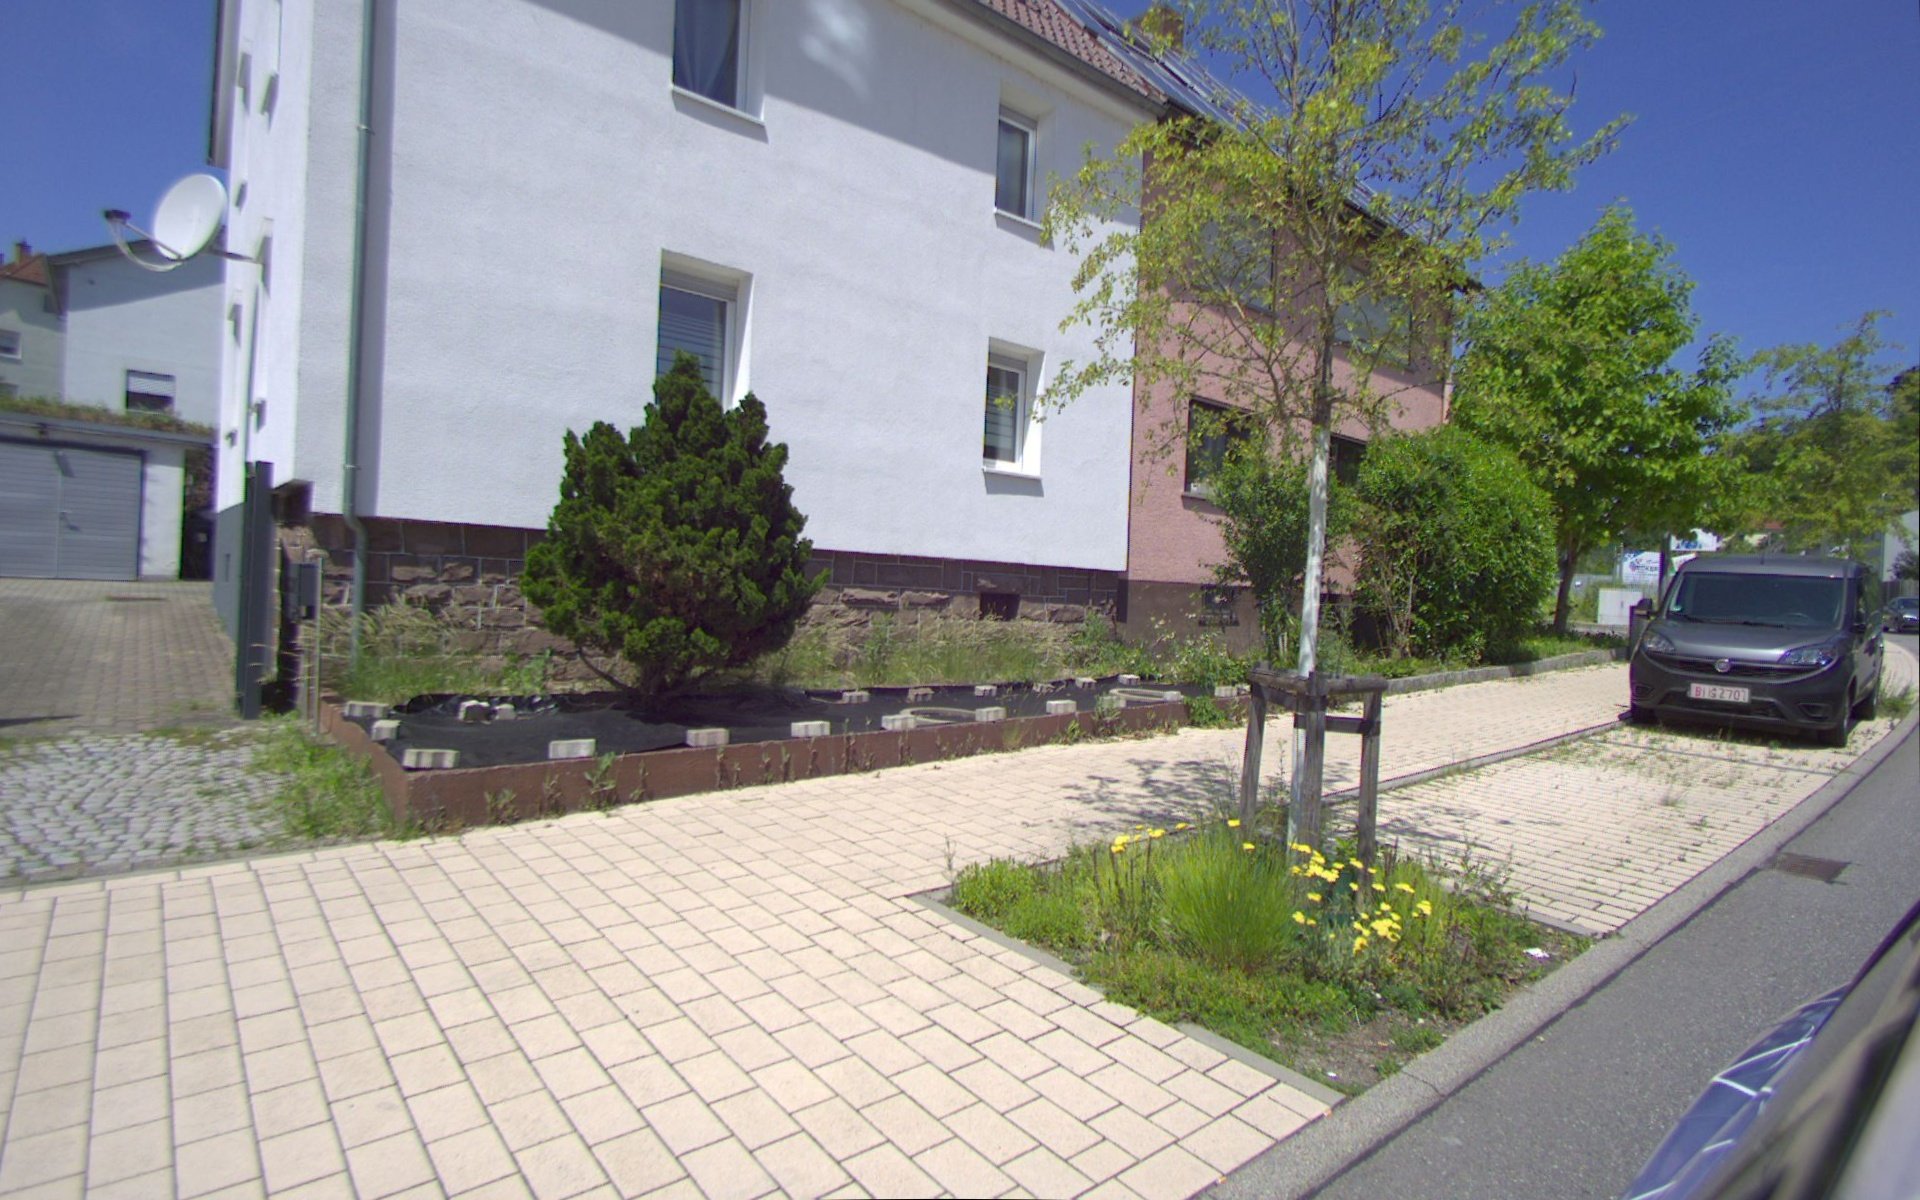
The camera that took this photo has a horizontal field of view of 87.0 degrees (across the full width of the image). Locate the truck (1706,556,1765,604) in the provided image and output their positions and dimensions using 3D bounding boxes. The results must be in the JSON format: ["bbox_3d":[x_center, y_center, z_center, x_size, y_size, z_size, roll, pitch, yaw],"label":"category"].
[{"bbox_3d":[59.027,-1.472,77.151,2.787,3.457,8.026,1,1,32],"label":"truck"}]

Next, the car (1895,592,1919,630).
[{"bbox_3d":[36.495,0.400,37.843,1.902,1.366,3.945,2,2,38],"label":"car"}]

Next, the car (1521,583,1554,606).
[{"bbox_3d":[36.013,-0.358,63.181,1.730,1.382,3.801,2,1,29],"label":"car"}]

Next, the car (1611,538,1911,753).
[{"bbox_3d":[8.905,0.352,11.094,4.592,1.865,1.858,0,3,-43],"label":"car"}]

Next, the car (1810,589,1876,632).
[{"bbox_3d":[31.848,0.332,36.584,1.669,1.393,3.942,4,3,40],"label":"car"}]

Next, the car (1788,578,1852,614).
[{"bbox_3d":[47.317,-0.244,55.792,1.955,1.856,4.414,3,2,32],"label":"car"}]
